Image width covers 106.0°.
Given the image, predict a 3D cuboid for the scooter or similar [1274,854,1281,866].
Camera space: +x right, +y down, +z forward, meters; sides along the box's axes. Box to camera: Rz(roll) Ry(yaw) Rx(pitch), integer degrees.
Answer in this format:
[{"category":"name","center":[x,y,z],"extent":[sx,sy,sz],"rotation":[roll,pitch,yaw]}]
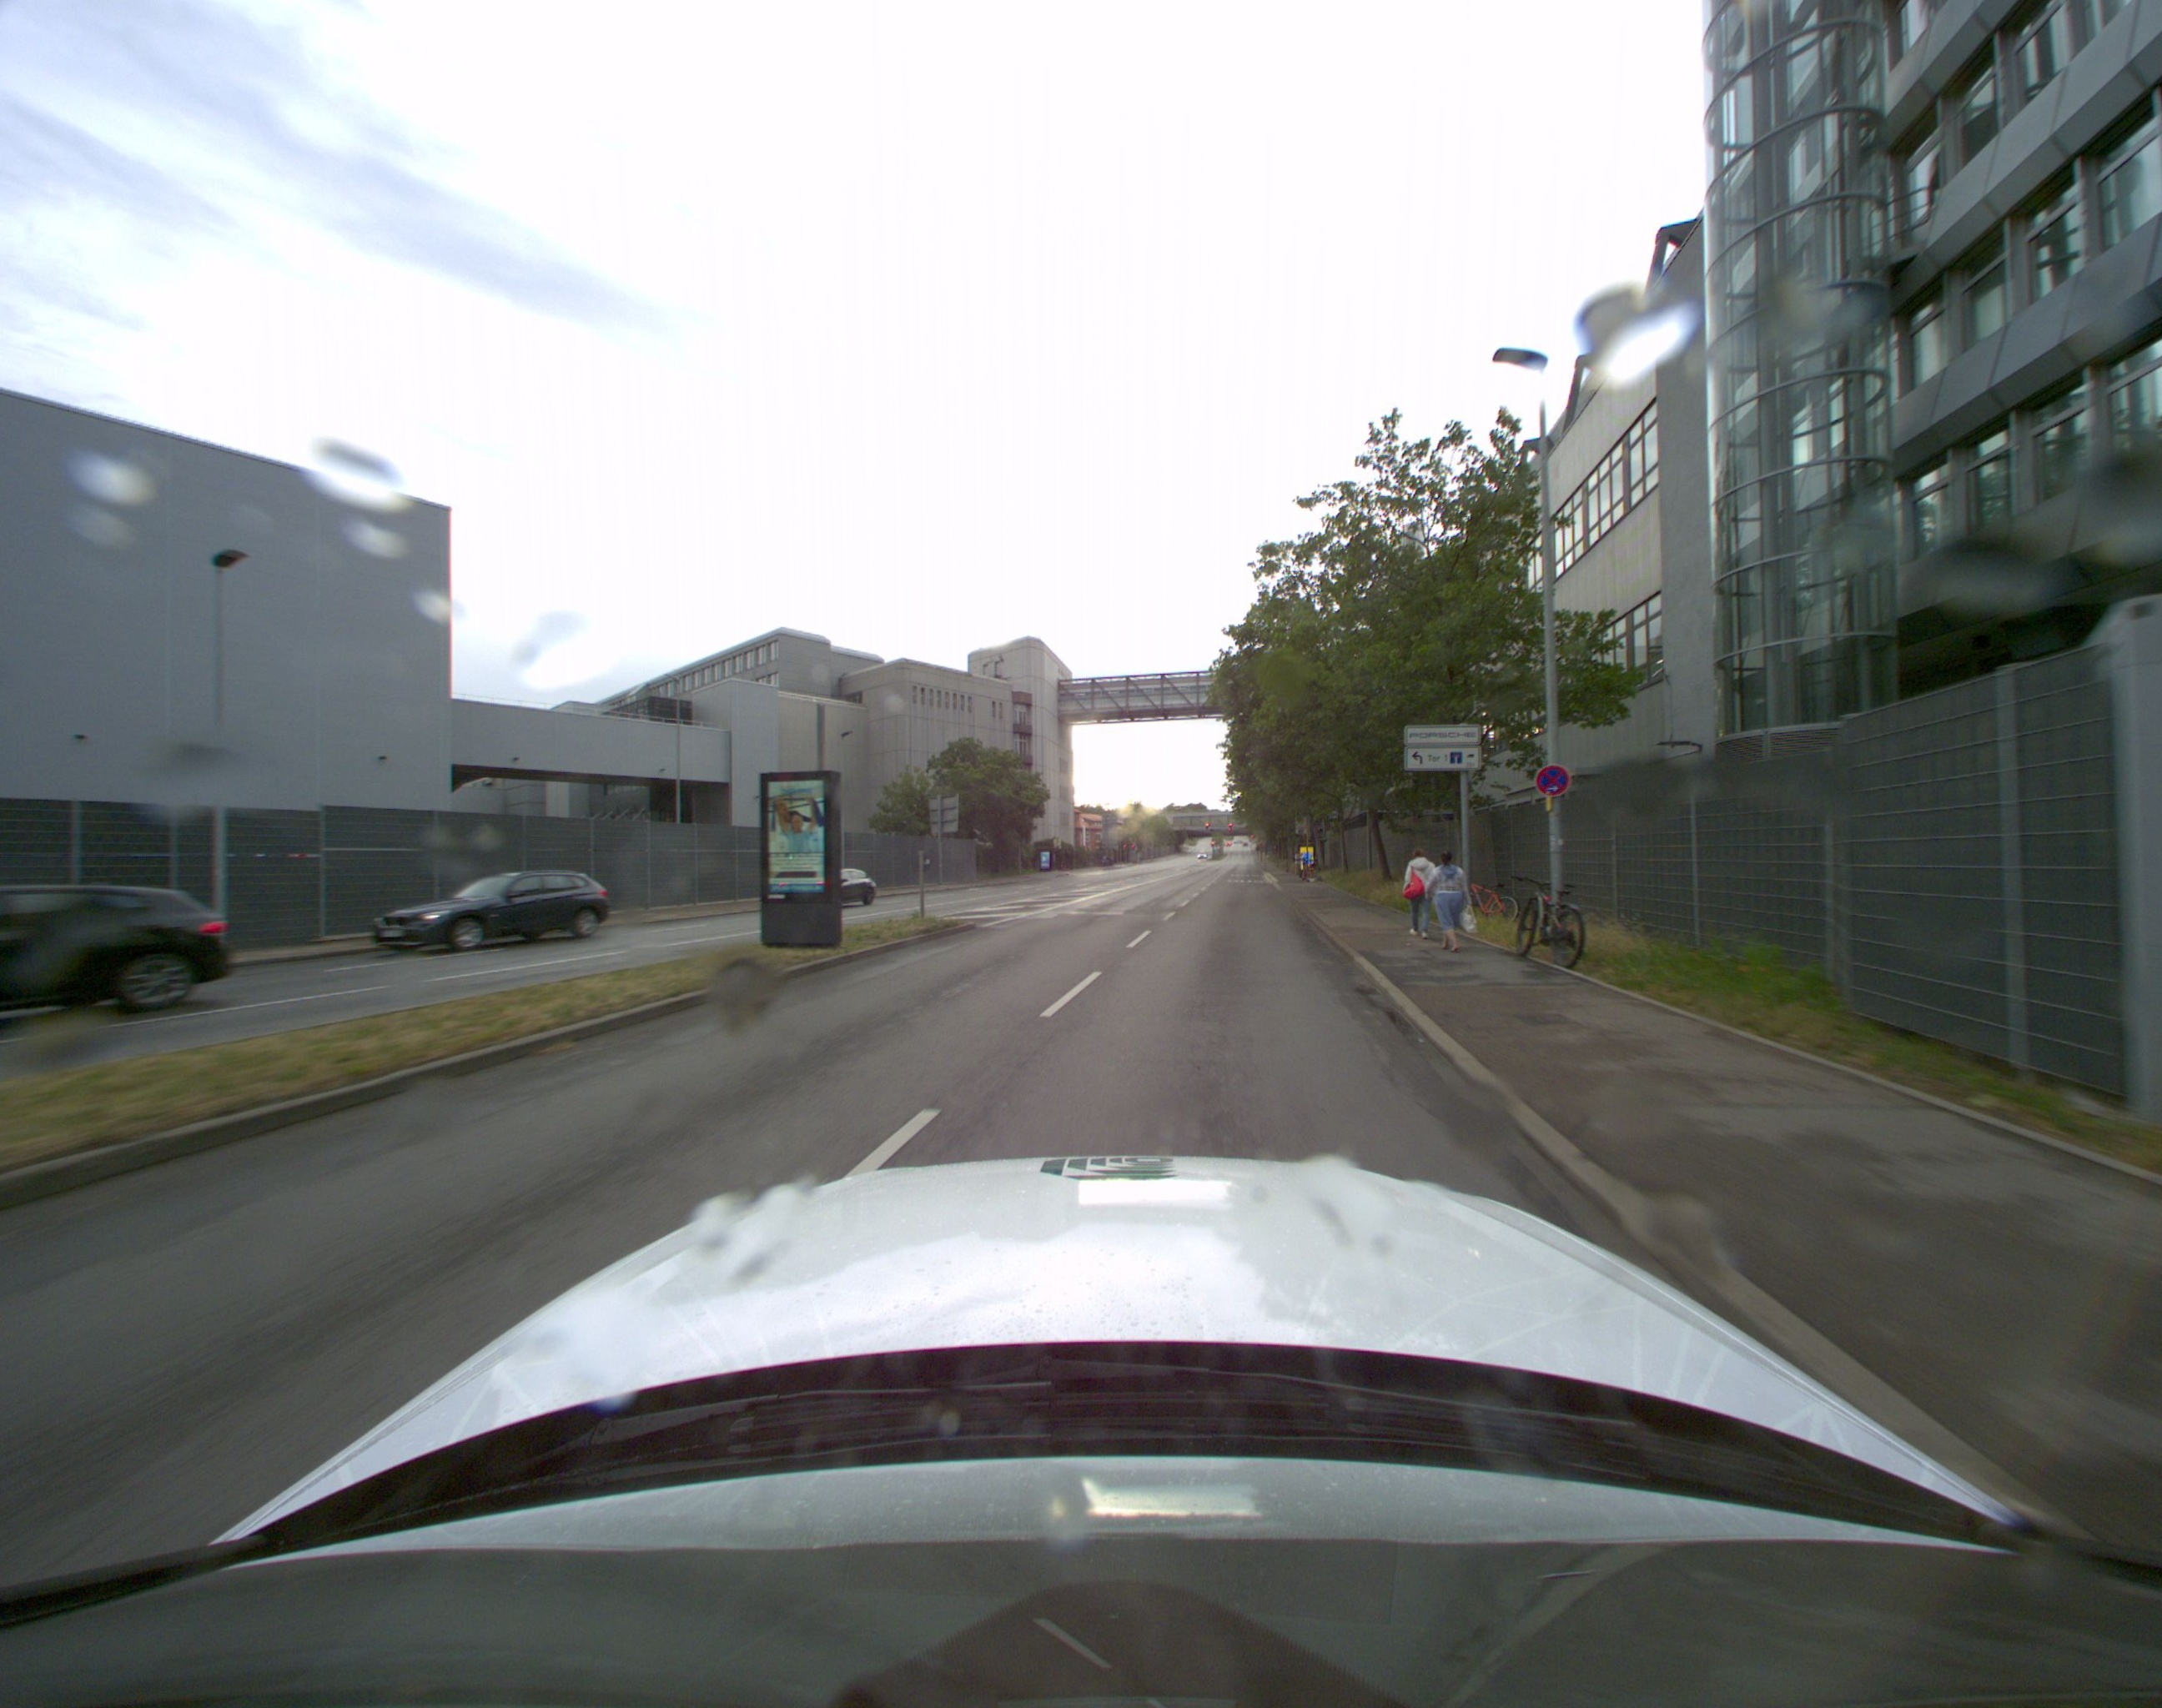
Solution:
[{"category":"scooter or similar","center":[21.730,0.672,90.012],"extent":[0.604,1.366,1.929],"rotation":[-1,0,16]}]

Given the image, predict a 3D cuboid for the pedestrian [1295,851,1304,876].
[{"category":"pedestrian","center":[15.049,0.648,56.155],"extent":[0.478,1.667,0.664],"rotation":[-2,0,9]}]

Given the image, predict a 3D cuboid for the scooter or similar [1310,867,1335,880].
[{"category":"scooter or similar","center":[14.099,1.134,47.562],"extent":[0.655,0.713,1.514],"rotation":[-1,0,-20]}]

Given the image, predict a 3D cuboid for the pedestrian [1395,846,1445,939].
[{"category":"pedestrian","center":[6.022,0.672,14.503],"extent":[0.703,1.592,0.844],"rotation":[-1,-1,16]}]

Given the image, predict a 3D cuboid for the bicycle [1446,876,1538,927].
[{"category":"bicycle","center":[8.350,0.939,16.618],"extent":[0.515,0.953,1.686],"rotation":[-1,0,-28]}]

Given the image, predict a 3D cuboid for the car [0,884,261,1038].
[{"category":"car","center":[-11.537,1.108,8.093],"extent":[1.768,1.440,4.417],"rotation":[-1,0,19]}]

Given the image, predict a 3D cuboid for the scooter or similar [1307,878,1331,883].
[{"category":"scooter or similar","center":[12.682,1.411,43.450],"extent":[0.653,0.246,1.519],"rotation":[-2,0,-10]}]

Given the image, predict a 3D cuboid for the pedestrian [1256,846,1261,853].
[{"category":"pedestrian","center":[54.172,-1.420,248.710],"extent":[1.048,2.014,1.157],"rotation":[-1,0,22]}]

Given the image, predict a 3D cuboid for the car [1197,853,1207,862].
[{"category":"car","center":[25.482,0.733,171.984],"extent":[1.982,1.772,4.009],"rotation":[-1,0,8]}]

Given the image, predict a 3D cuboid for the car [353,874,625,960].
[{"category":"car","center":[-12.433,1.256,17.557],"extent":[1.769,1.454,4.579],"rotation":[-3,-1,15]}]

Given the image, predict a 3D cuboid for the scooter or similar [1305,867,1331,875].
[{"category":"scooter or similar","center":[15.605,1.132,53.681],"extent":[1.546,0.519,0.647],"rotation":[-2,0,28]}]

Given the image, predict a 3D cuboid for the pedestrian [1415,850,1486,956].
[{"category":"pedestrian","center":[5.538,0.711,12.253],"extent":[0.825,1.520,0.845],"rotation":[-1,-1,16]}]

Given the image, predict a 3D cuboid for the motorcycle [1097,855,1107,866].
[{"category":"motorcycle","center":[2.934,0.922,114.750],"extent":[0.908,1.532,3.308],"rotation":[-1,0,9]}]

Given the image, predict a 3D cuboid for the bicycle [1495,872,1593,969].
[{"category":"bicycle","center":[6.072,0.822,10.789],"extent":[0.340,1.118,1.976],"rotation":[-1,0,6]}]

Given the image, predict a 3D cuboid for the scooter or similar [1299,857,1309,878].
[{"category":"scooter or similar","center":[13.805,0.836,50.438],"extent":[0.472,1.293,1.438],"rotation":[-2,0,12]}]

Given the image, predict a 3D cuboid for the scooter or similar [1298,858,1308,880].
[{"category":"scooter or similar","center":[13.133,0.860,48.203],"extent":[0.430,1.270,1.198],"rotation":[-2,0,12]}]

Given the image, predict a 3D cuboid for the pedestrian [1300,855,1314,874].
[{"category":"pedestrian","center":[16.613,0.763,59.845],"extent":[0.943,1.317,0.689],"rotation":[-1,0,17]}]

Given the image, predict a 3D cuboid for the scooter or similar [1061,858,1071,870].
[{"category":"scooter or similar","center":[-1.695,1.096,91.763],"extent":[0.493,1.252,1.929],"rotation":[-1,0,16]}]

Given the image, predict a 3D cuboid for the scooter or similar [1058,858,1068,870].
[{"category":"scooter or similar","center":[-2.007,1.120,89.783],"extent":[0.520,1.252,1.807],"rotation":[-1,0,16]}]

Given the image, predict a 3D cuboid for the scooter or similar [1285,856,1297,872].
[{"category":"scooter or similar","center":[17.468,0.807,67.768],"extent":[0.693,1.244,1.932],"rotation":[-1,0,23]}]

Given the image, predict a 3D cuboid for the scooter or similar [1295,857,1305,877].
[{"category":"scooter or similar","center":[14.205,0.830,52.733],"extent":[0.499,1.293,1.438],"rotation":[-2,0,12]}]

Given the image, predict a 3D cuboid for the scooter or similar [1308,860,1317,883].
[{"category":"scooter or similar","center":[12.758,0.943,44.860],"extent":[0.386,1.226,1.077],"rotation":[-2,0,12]}]

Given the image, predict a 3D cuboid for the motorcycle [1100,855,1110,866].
[{"category":"motorcycle","center":[3.517,0.894,118.718],"extent":[0.953,1.556,3.308],"rotation":[-1,0,9]}]

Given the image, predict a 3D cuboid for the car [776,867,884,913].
[{"category":"car","center":[-9.094,1.270,29.985],"extent":[1.771,1.385,4.560],"rotation":[-3,-1,11]}]
